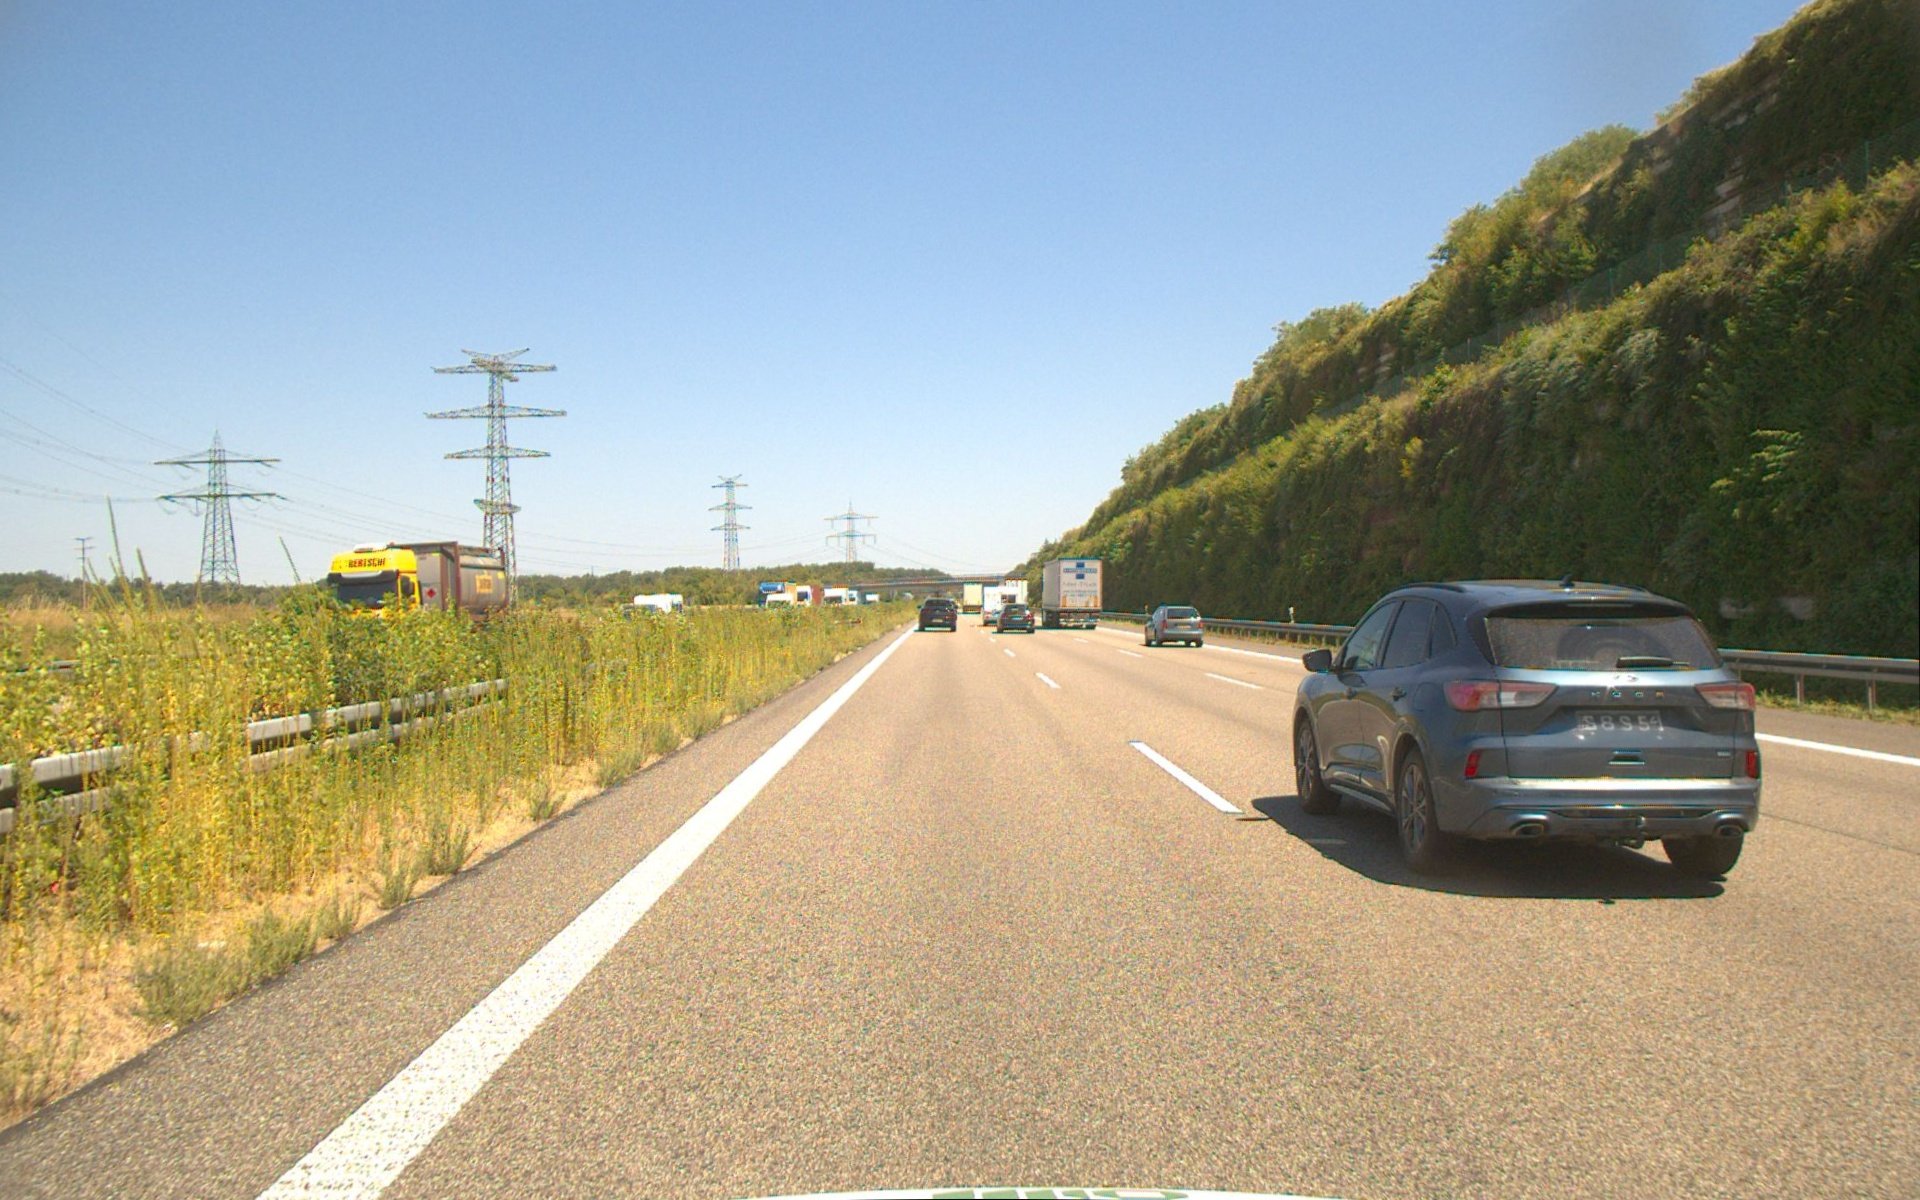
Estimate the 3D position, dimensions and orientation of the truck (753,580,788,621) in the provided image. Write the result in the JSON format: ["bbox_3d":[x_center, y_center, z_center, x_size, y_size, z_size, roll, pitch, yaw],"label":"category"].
[{"bbox_3d":[-19.152,0.032,167.547,2.805,3.976,5.619,-1,0,-1],"label":"truck"}]

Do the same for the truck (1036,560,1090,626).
[{"bbox_3d":[6.751,-0.444,108.752,3.072,4.214,5.503,-1,0,-1],"label":"truck"}]

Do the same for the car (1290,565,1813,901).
[{"bbox_3d":[3.409,0.669,10.436,1.757,1.682,4.137,0,0,-1],"label":"car"}]

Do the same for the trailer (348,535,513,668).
[{"bbox_3d":[-17.897,0.044,56.647,2.681,4.116,9.422,-1,0,-1],"label":"trailer"}]

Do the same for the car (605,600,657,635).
[{"bbox_3d":[-18.399,0.958,92.812,2.005,1.887,4.868,-1,0,-1],"label":"car"}]

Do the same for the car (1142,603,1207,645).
[{"bbox_3d":[7.681,0.822,59.481,1.650,1.453,4.452,0,0,-2],"label":"car"}]

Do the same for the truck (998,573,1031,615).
[{"bbox_3d":[5.966,-0.633,181.742,3.055,4.355,11.931,-1,0,-1],"label":"truck"}]

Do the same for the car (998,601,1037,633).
[{"bbox_3d":[2.875,0.840,83.730,1.792,1.552,4.000,-1,0,0],"label":"car"}]

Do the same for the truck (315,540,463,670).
[{"bbox_3d":[-17.760,0.138,51.817,2.670,3.793,5.644,-1,0,-1],"label":"truck"}]

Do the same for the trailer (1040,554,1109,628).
[{"bbox_3d":[6.910,-0.495,101.828,3.118,4.193,13.428,-1,0,-1],"label":"trailer"}]

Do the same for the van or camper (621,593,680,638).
[{"bbox_3d":[-18.523,0.904,99.292,2.394,2.562,6.482,-1,0,-1],"label":"van or camper"}]

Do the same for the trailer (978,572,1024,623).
[{"bbox_3d":[2.684,-0.151,110.713,2.558,3.269,9.950,0,0,-1],"label":"trailer"}]

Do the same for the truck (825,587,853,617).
[{"bbox_3d":[-14.598,0.283,200.339,2.877,3.473,9.363,-2,0,-1],"label":"truck"}]

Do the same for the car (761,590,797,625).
[{"bbox_3d":[-14.724,0.560,134.890,2.062,2.677,7.466,-3,0,0],"label":"car"}]

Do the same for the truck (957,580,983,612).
[{"bbox_3d":[1.331,-0.574,231.866,3.340,4.355,10.605,-1,0,-1],"label":"truck"}]

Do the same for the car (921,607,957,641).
[{"bbox_3d":[-1.131,1.247,86.770,1.793,1.700,3.999,-1,0,-1],"label":"car"}]
